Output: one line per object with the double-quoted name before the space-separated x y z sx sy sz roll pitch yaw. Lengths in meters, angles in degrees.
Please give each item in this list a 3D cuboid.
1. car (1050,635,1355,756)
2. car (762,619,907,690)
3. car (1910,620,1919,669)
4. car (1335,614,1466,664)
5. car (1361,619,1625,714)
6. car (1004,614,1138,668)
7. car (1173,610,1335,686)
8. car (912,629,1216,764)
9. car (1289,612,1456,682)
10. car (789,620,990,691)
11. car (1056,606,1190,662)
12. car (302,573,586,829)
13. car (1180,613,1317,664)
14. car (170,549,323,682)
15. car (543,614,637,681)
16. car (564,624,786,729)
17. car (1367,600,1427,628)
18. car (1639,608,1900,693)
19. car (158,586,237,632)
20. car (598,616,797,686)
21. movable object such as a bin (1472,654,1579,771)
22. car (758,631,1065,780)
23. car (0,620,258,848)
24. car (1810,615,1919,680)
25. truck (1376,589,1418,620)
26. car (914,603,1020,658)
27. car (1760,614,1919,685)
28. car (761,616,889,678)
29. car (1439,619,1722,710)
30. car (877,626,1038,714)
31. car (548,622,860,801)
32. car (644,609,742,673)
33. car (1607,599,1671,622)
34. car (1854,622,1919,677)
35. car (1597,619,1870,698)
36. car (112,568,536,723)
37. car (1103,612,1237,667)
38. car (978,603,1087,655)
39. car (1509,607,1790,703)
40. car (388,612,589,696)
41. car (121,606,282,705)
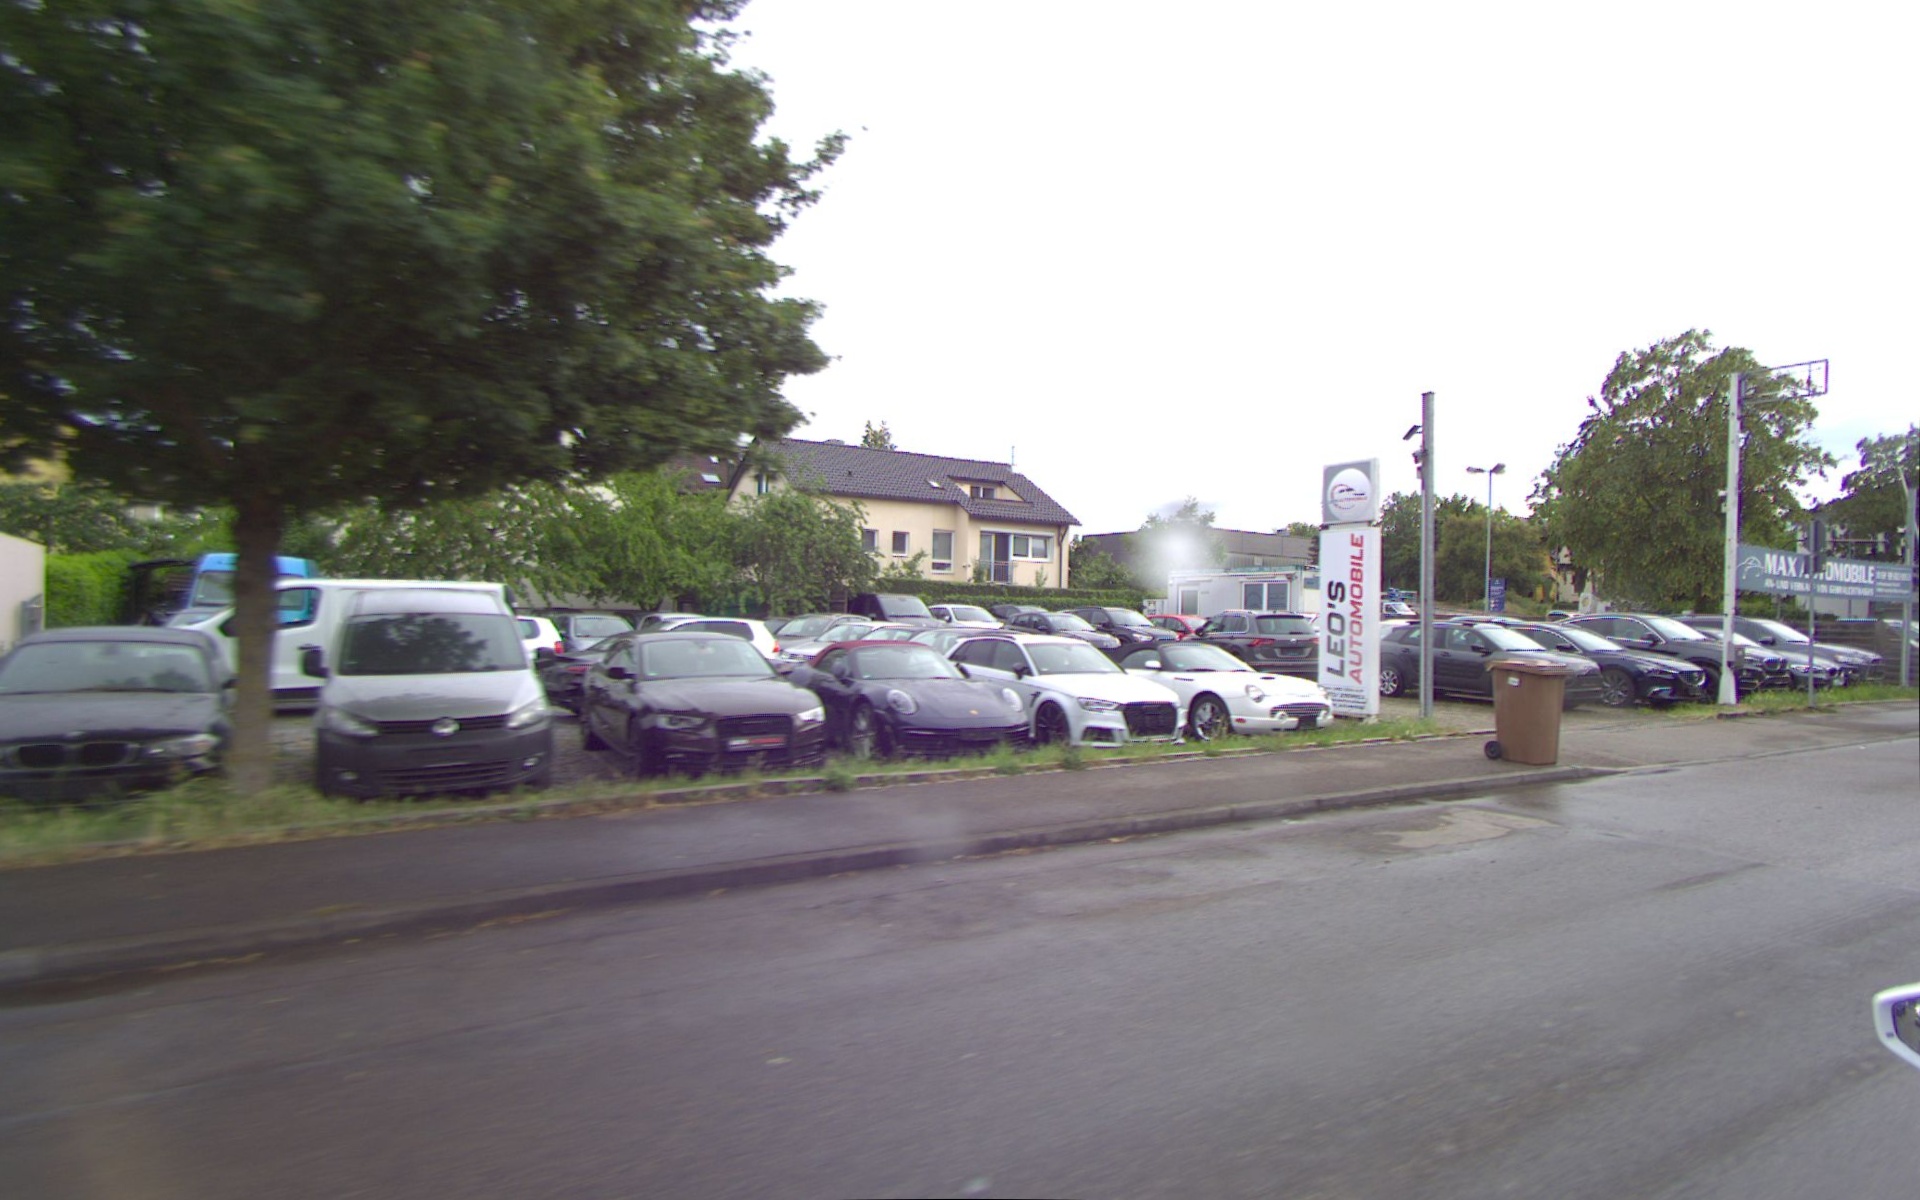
"car" 3.291 1.239 14.567 1.750 1.349 4.430 1 -1 -30
"car" -2.717 1.149 22.261 1.316 1.434 3.222 0 -1 36
"car" 32.807 1.485 31.707 1.609 1.551 3.913 0 2 -40
"car" 13.446 1.165 30.633 3.953 1.417 1.683 1 -1 -30
"car" 9.695 1.132 18.584 1.817 1.483 3.969 1 0 -29
"car" 2.936 1.064 27.298 1.973 1.289 3.723 1 0 -25
"car" 6.493 1.020 22.686 1.903 1.519 3.992 1 0 -11
"car" 1.182 1.137 13.450 1.867 1.392 4.355 1 -1 -30
"car" 9.965 1.093 24.216 3.953 1.550 1.683 1 -1 -30
"car" -1.357 1.073 20.446 3.971 1.274 1.601 1 -1 -42
"car" 4.603 0.928 28.784 1.769 1.457 3.712 1 0 -33
"car" -5.084 0.737 9.526 1.878 1.814 4.529 1 -1 -34
"car" 8.885 1.151 31.180 1.727 1.433 3.909 1 0 -34
"car" -14.721 0.267 21.041 2.023 2.406 5.642 1 0 -30
"car" -8.199 0.995 22.117 1.323 1.350 3.205 1 -1 -32
"car" -4.360 1.106 15.718 1.316 1.434 3.222 0 -1 36
"car" 34.439 1.099 79.266 1.973 2.021 3.974 0 1 -25
"car" 18.616 1.084 23.337 1.935 1.713 4.328 1 0 -29
"car" -25.171 0.285 33.250 1.610 1.439 3.599 1 0 -30
"car" -5.215 0.981 20.098 3.499 1.252 1.647 1 0 -37
"movable object such as a bin" 6.013 1.169 10.684 0.726 1.145 0.704 1 0 -30
"car" -0.817 1.101 12.187 1.867 1.327 4.536 1 -1 -30
"car" -6.876 0.895 8.227 1.743 1.390 3.887 1 -1 -34
"car" 25.073 1.253 26.257 1.781 1.564 3.971 1 1 -27
"truck" 39.382 0.368 90.682 1.959 2.573 5.561 1 1 7
"car" 0.164 0.927 31.544 1.766 1.592 3.719 1 0 -29
"car" 22.663 1.194 24.957 1.781 1.564 3.971 1 1 -27
"car" -3.345 1.138 25.264 1.316 1.434 3.222 0 -1 36
"car" 11.929 1.161 19.634 1.918 1.483 4.328 1 0 -29
"car" 0.022 1.217 18.514 1.316 1.434 3.222 0 -1 36
"car" -2.982 0.998 10.882 1.878 1.437 4.529 1 -1 -34
"car" -6.275 0.912 23.440 1.323 1.350 3.205 1 -1 -32
"car" 56.476 0.860 83.569 3.919 1.747 2.001 1 1 7
"car" 27.507 1.414 27.647 1.781 1.460 3.971 1 1 -27
"car" 16.715 1.187 21.941 1.935 1.451 4.328 1 0 -29
"car" -9.148 0.628 14.922 4.999 1.956 1.982 1 -1 -33
"car" 6.370 1.171 30.838 1.817 1.550 3.965 1 -1 -32
"car" 2.321 0.929 33.155 1.768 1.578 3.714 1 0 -32
"car" 13.999 1.026 20.668 2.034 1.714 4.328 1 0 -29
"car" -8.350 0.915 17.828 3.082 1.350 1.377 1 -1 -33
"car" -12.336 0.838 16.553 1.653 1.439 3.721 1 -1 -30
